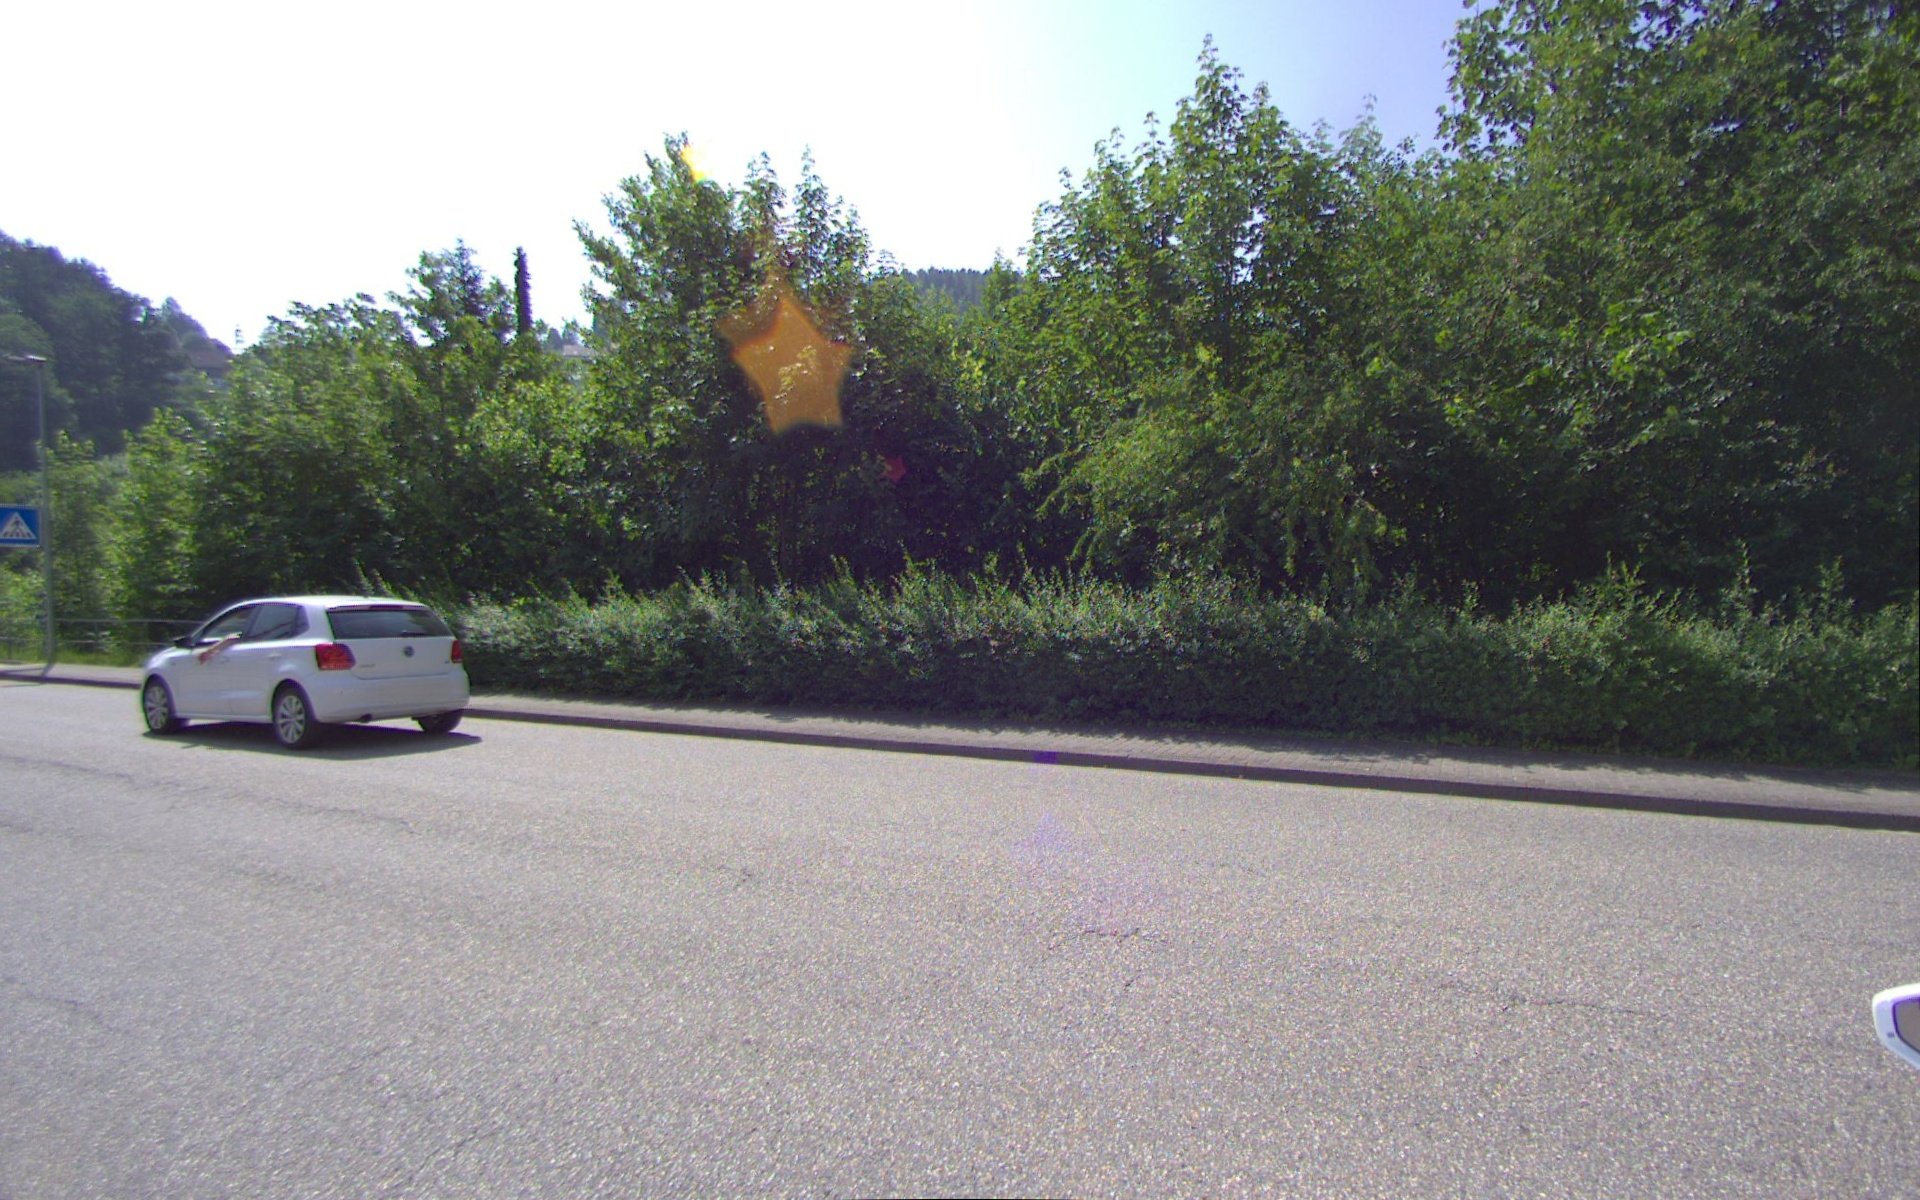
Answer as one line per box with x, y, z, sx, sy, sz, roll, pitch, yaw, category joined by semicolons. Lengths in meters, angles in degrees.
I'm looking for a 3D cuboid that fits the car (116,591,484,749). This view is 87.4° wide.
-7.030;0.642;10.662;3.756;1.424;1.608;0;-1;27;car
